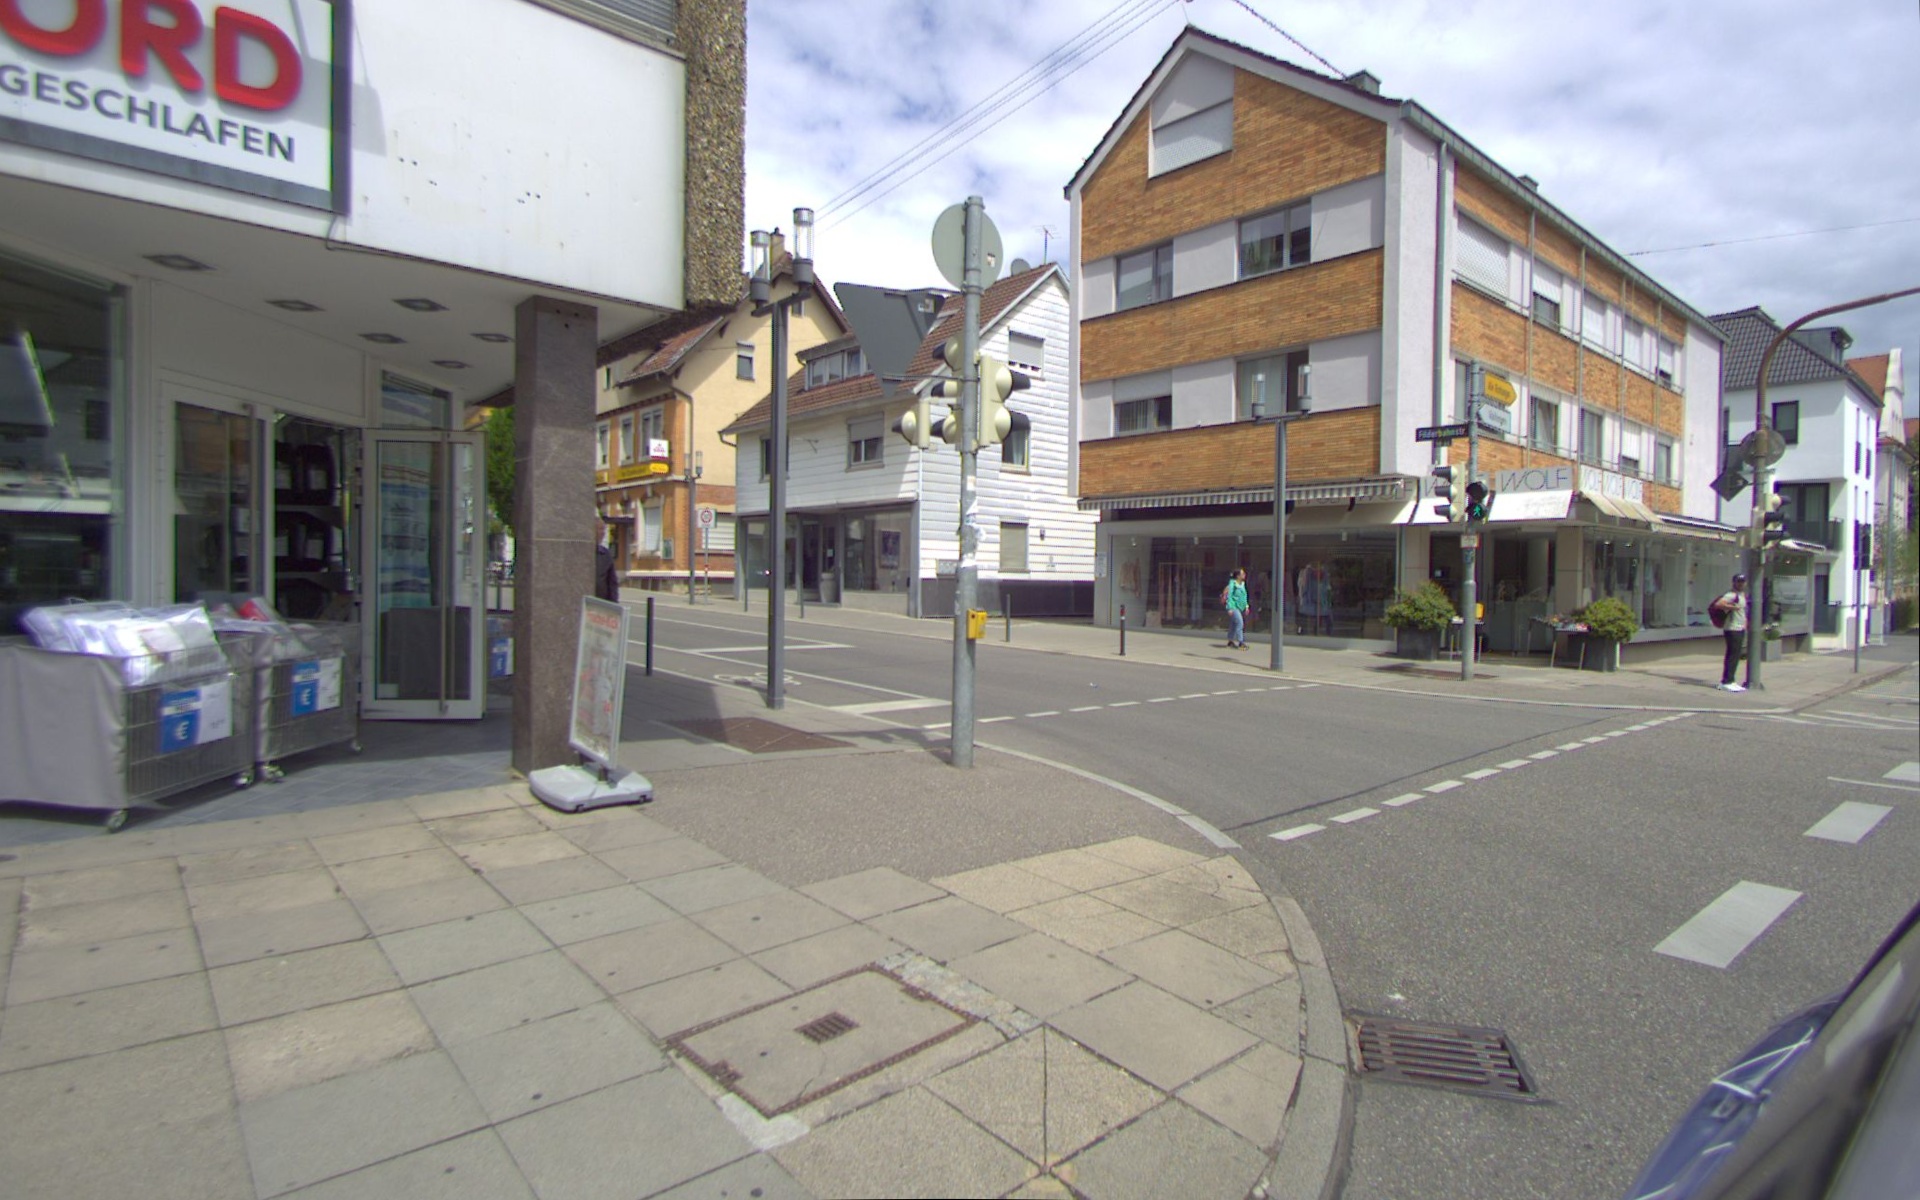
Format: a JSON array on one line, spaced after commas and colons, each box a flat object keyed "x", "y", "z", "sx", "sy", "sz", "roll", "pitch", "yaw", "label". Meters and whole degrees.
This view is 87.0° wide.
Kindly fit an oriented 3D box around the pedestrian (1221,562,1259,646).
[{"x": 5.390, "y": 0.071, "z": 19.495, "sx": 0.584, "sy": 1.579, "sz": 0.523, "roll": 0, "pitch": 1, "yaw": 33, "label": "pedestrian"}]

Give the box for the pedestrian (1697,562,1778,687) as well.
[{"x": 12.040, "y": 0.358, "z": 15.703, "sx": 0.605, "sy": 1.836, "sz": 0.772, "roll": 5, "pitch": 3, "yaw": 17, "label": "pedestrian"}]

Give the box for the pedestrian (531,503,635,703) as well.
[{"x": -3.421, "y": 0.014, "z": 9.217, "sx": 0.572, "sy": 1.726, "sz": 0.617, "roll": 4, "pitch": 2, "yaw": 17, "label": "pedestrian"}]
